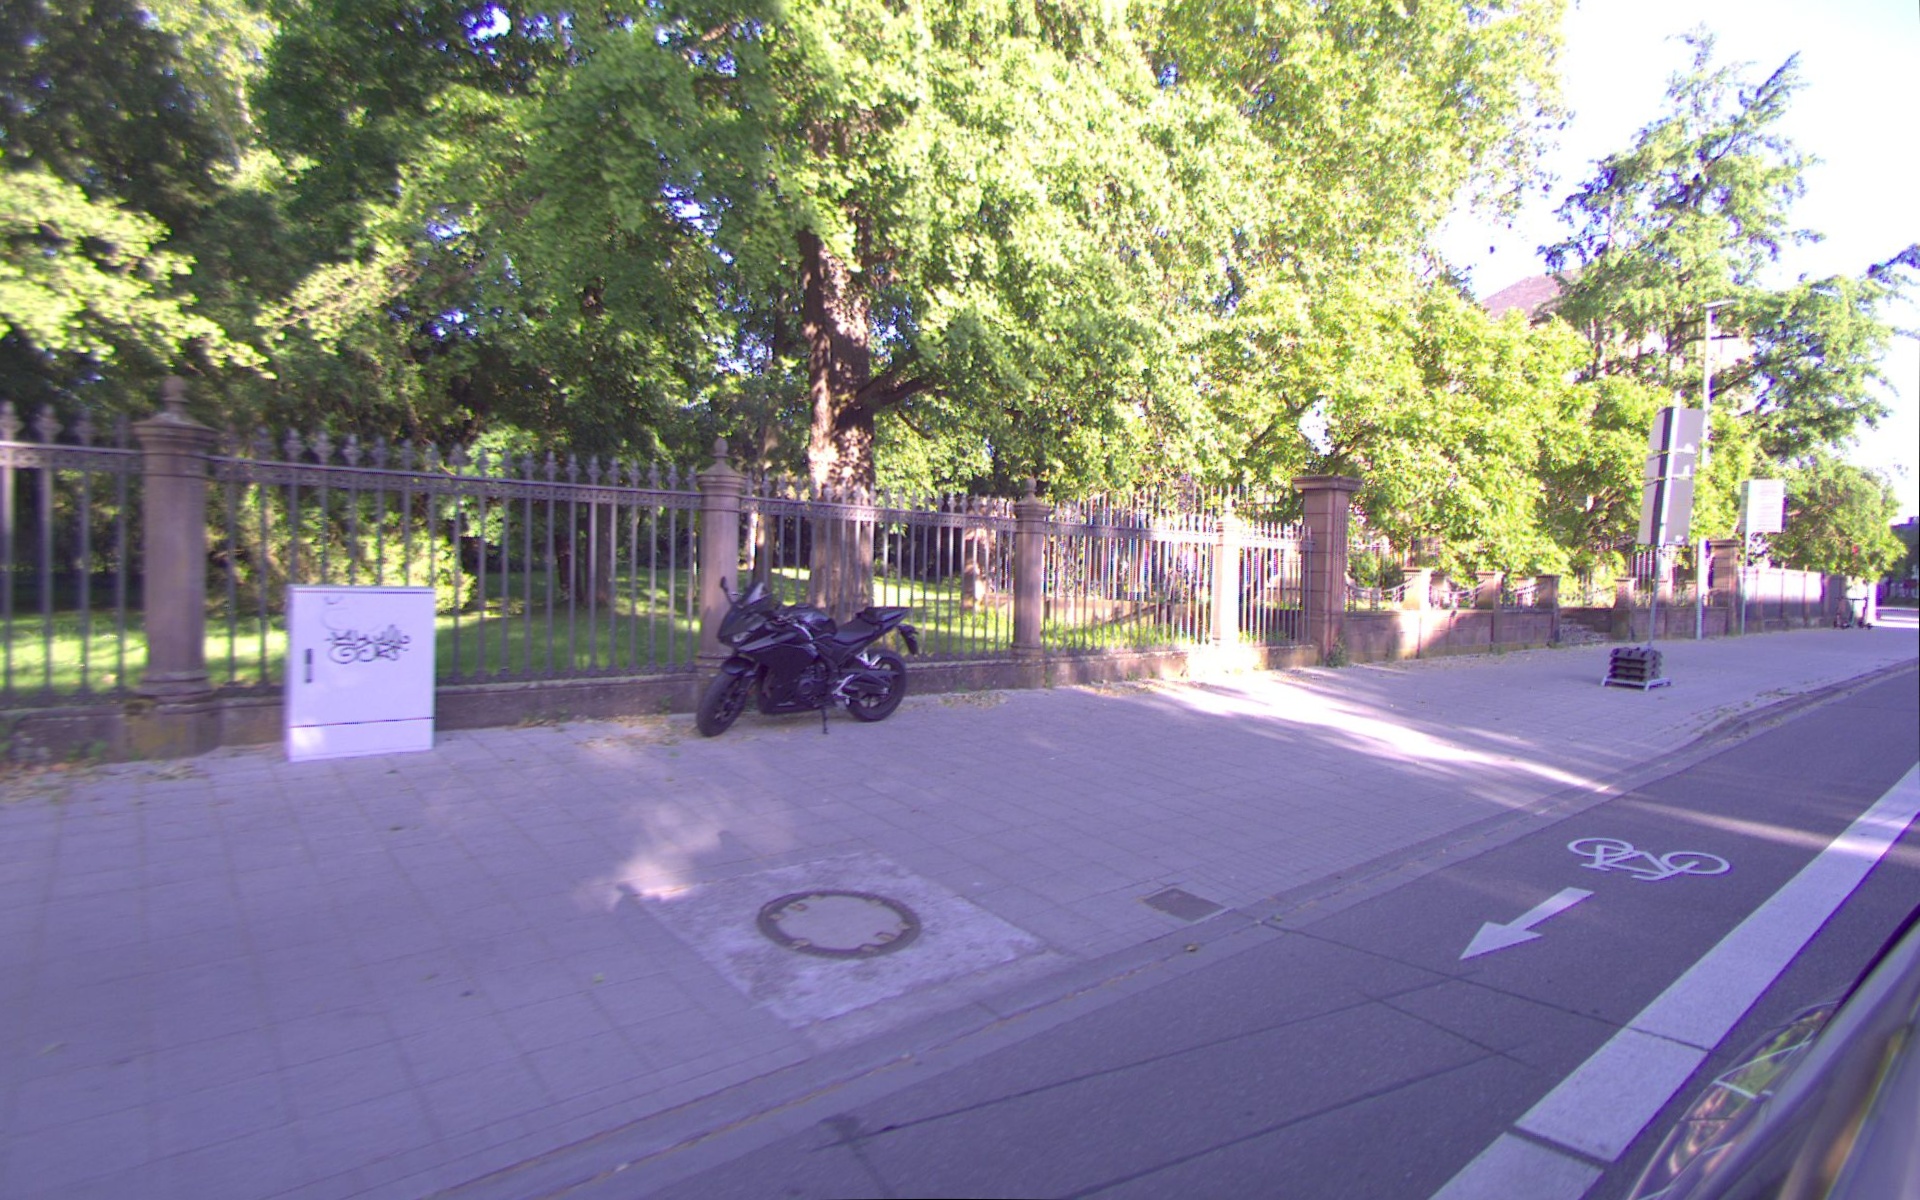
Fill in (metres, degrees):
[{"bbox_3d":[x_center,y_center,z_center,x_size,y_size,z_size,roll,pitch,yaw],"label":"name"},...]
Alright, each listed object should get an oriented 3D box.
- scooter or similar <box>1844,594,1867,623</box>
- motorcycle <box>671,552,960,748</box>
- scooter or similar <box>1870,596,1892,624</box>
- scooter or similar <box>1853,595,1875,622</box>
[{"bbox_3d":[33.605,0.309,37.968,1.748,1.054,0.415,-1,0,-41],"label":"scooter or similar"},{"bbox_3d":[-1.067,0.314,7.761,2.002,1.309,0.906,0,2,-41],"label":"motorcycle"},{"bbox_3d":[35.508,0.378,39.027,1.748,1.054,0.415,-1,0,-41],"label":"scooter or similar"},{"bbox_3d":[35.252,0.321,39.446,1.748,1.054,0.415,-1,0,-41],"label":"scooter or similar"}]
